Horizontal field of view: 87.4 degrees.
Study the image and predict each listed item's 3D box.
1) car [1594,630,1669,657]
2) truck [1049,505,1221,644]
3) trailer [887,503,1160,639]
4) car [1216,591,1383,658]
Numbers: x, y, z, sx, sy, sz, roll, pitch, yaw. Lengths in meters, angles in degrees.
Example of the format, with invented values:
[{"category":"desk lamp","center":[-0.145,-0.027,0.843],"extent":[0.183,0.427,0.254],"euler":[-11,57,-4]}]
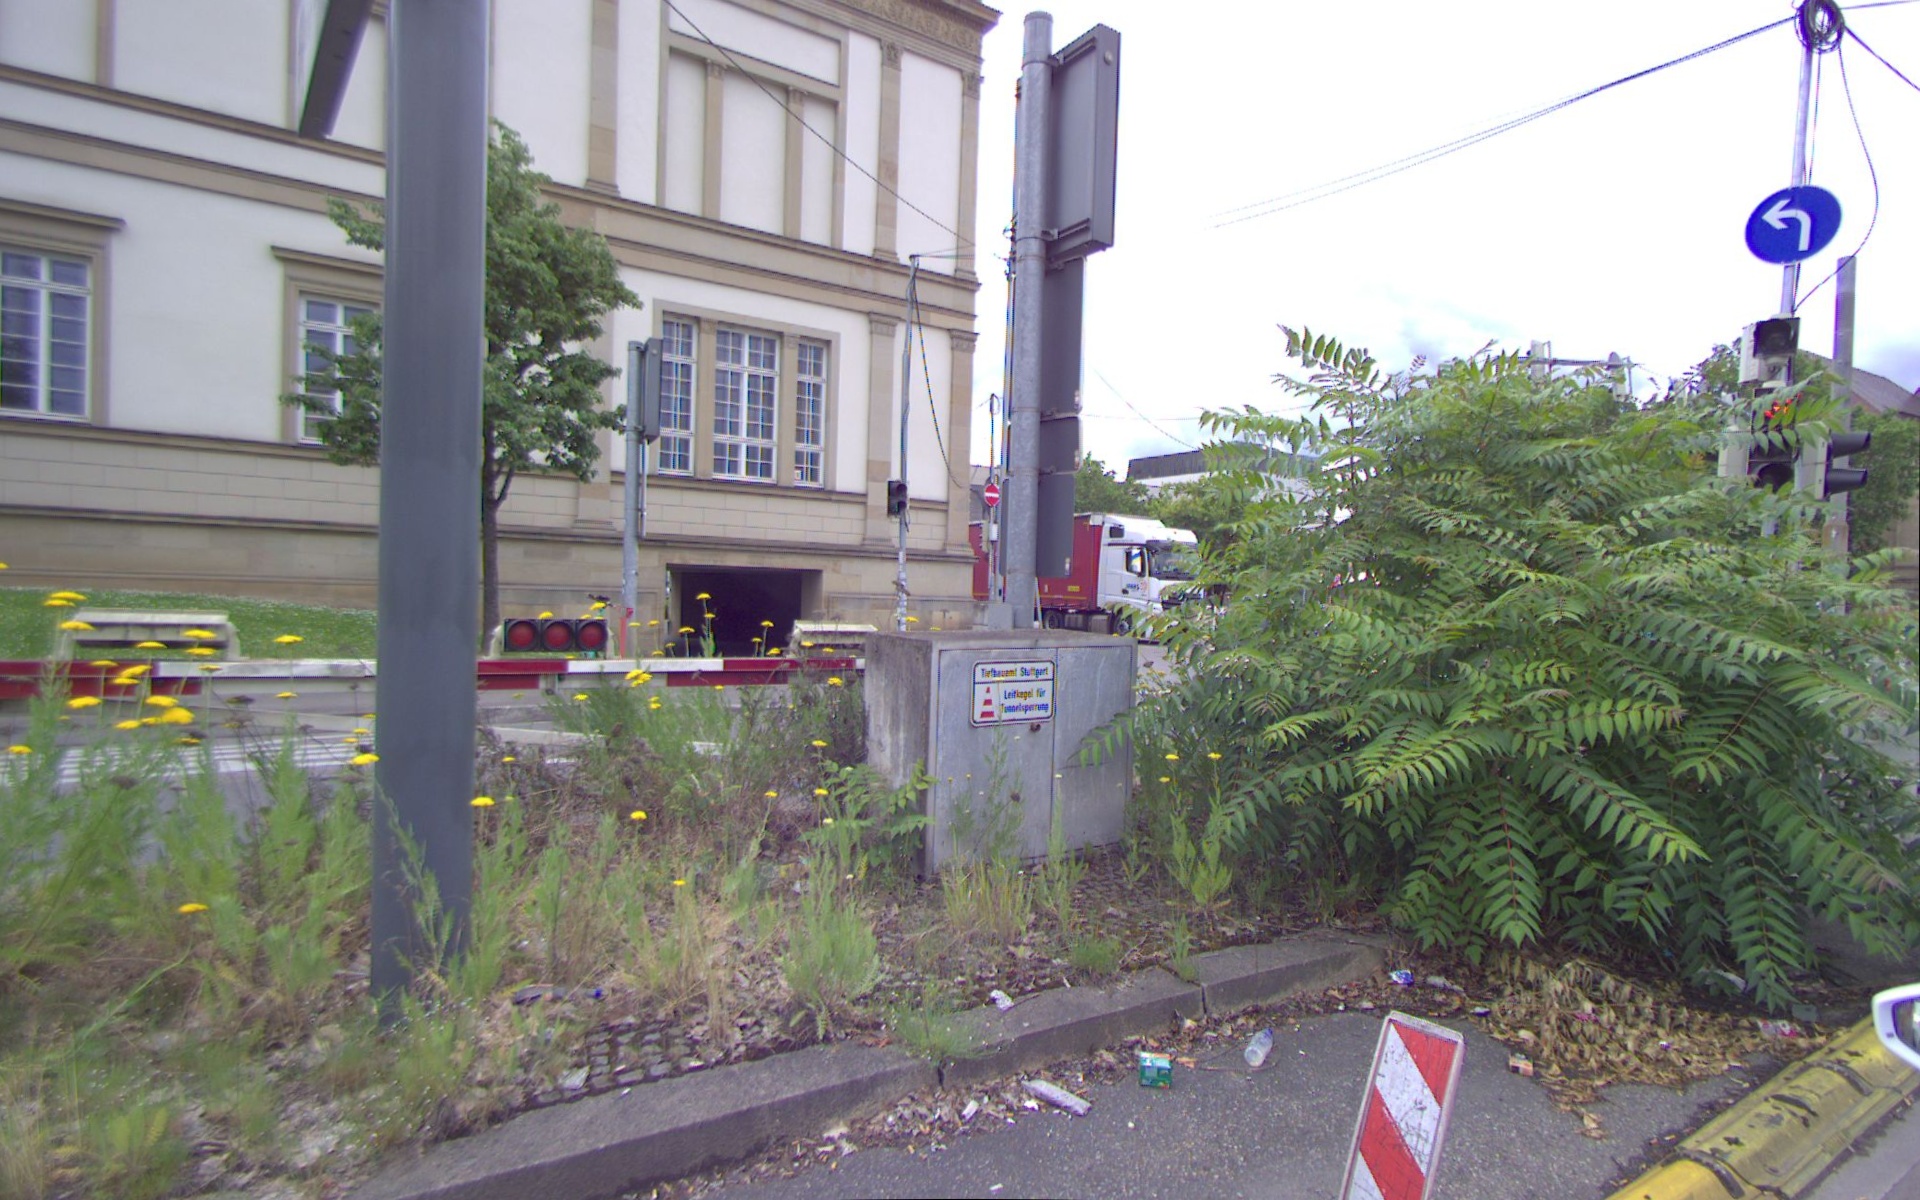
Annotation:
[{"category":"car","center":[41.217,2.660,61.747],"extent":[3.615,1.417,1.679],"euler":[2,0,27]},{"category":"truck","center":[5.610,-0.752,32.781],"extent":[2.915,4.118,4.846],"euler":[2,0,-34]},{"category":"trailer","center":[1.773,-0.992,38.732],"extent":[2.916,4.338,13.662],"euler":[2,0,-33]},{"category":"car","center":[9.035,0.615,27.066],"extent":[1.810,1.646,4.032],"euler":[2,0,-31]}]
